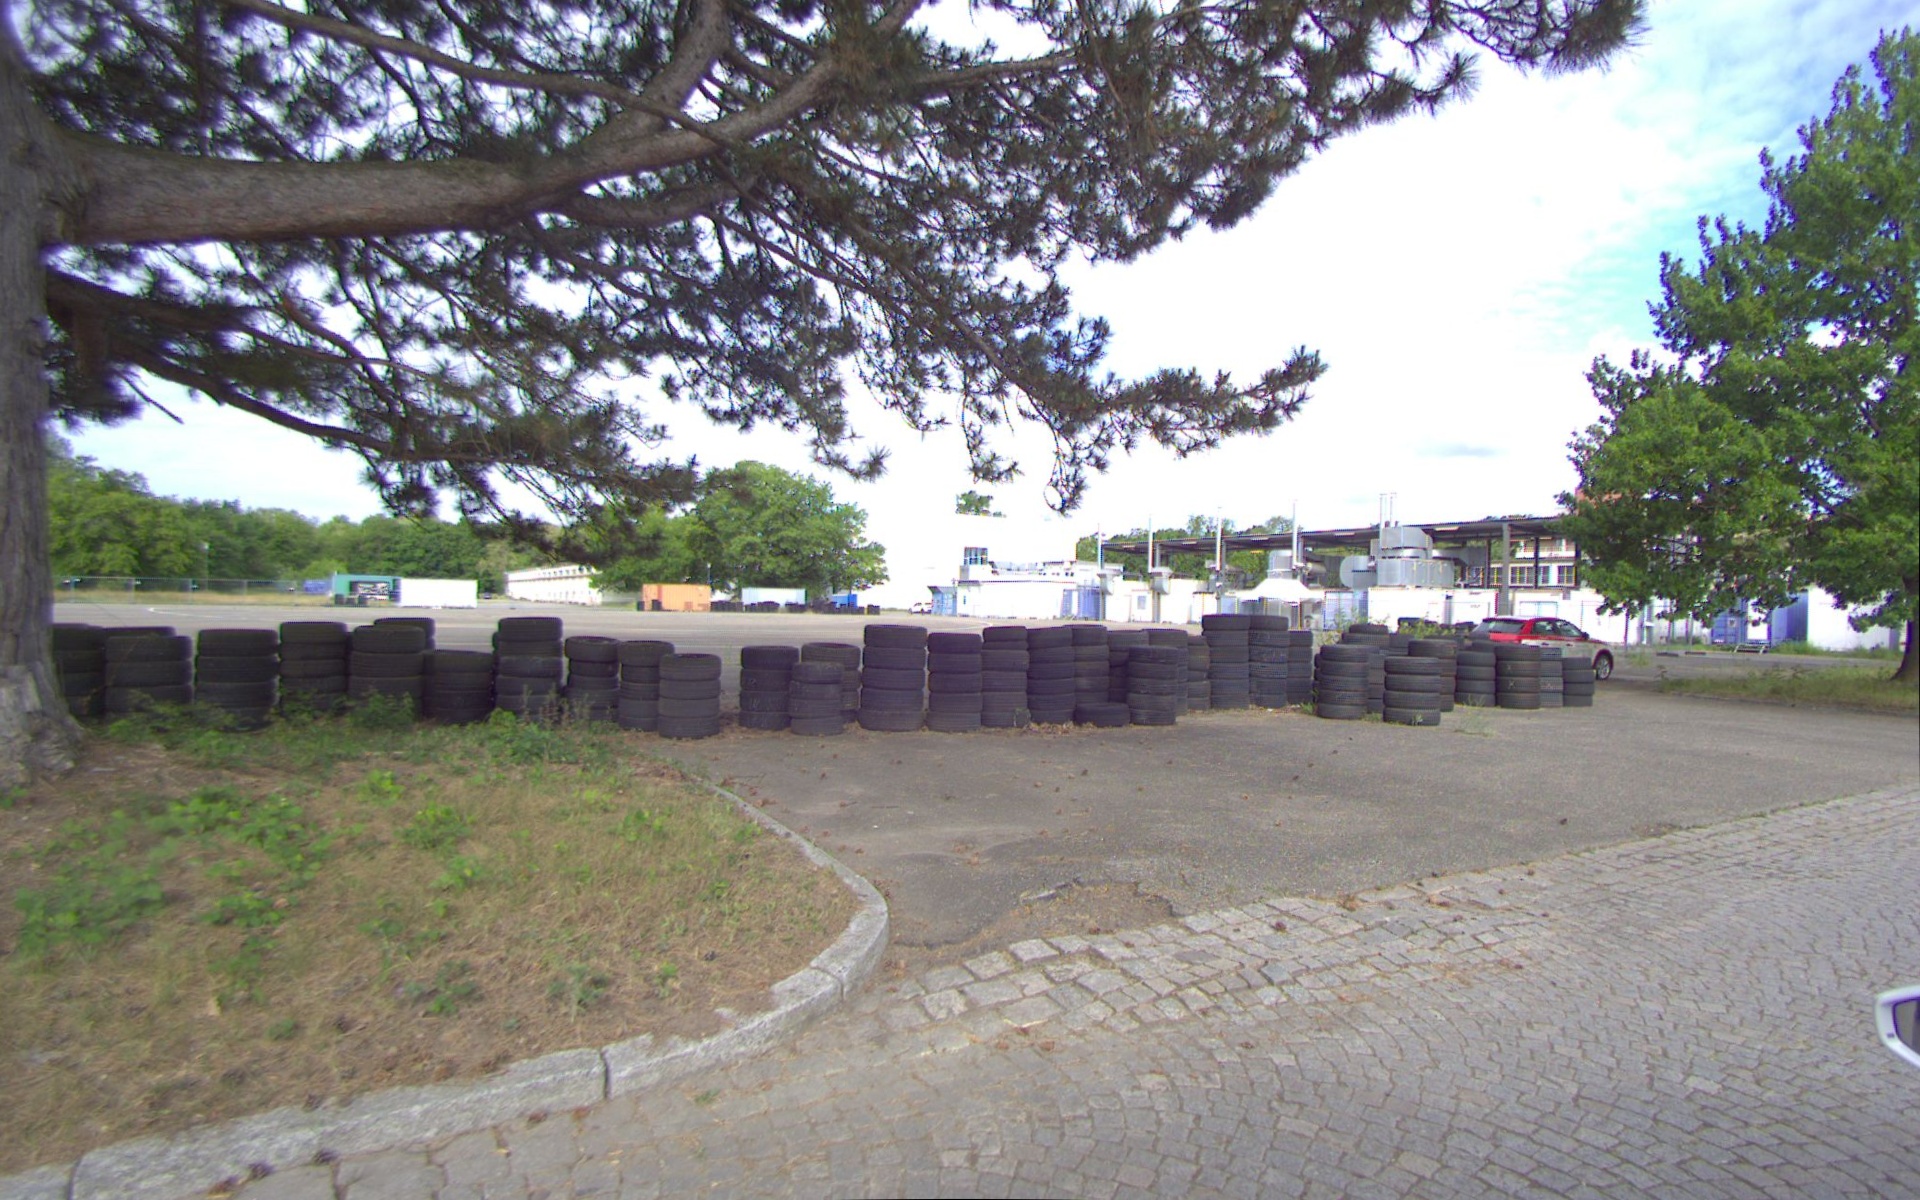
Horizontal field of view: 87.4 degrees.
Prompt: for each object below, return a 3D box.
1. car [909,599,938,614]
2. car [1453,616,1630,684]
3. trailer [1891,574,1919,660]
[{"bbox_3d":[-4.290,0.783,117.890,1.808,1.655,4.086,1,0,-29],"label":"car"},{"bbox_3d":[13.695,1.145,23.652,4.009,1.452,1.620,1,0,-25],"label":"car"},{"bbox_3d":[45.199,0.860,44.578,10.052,3.646,2.614,2,0,-29],"label":"trailer"}]
